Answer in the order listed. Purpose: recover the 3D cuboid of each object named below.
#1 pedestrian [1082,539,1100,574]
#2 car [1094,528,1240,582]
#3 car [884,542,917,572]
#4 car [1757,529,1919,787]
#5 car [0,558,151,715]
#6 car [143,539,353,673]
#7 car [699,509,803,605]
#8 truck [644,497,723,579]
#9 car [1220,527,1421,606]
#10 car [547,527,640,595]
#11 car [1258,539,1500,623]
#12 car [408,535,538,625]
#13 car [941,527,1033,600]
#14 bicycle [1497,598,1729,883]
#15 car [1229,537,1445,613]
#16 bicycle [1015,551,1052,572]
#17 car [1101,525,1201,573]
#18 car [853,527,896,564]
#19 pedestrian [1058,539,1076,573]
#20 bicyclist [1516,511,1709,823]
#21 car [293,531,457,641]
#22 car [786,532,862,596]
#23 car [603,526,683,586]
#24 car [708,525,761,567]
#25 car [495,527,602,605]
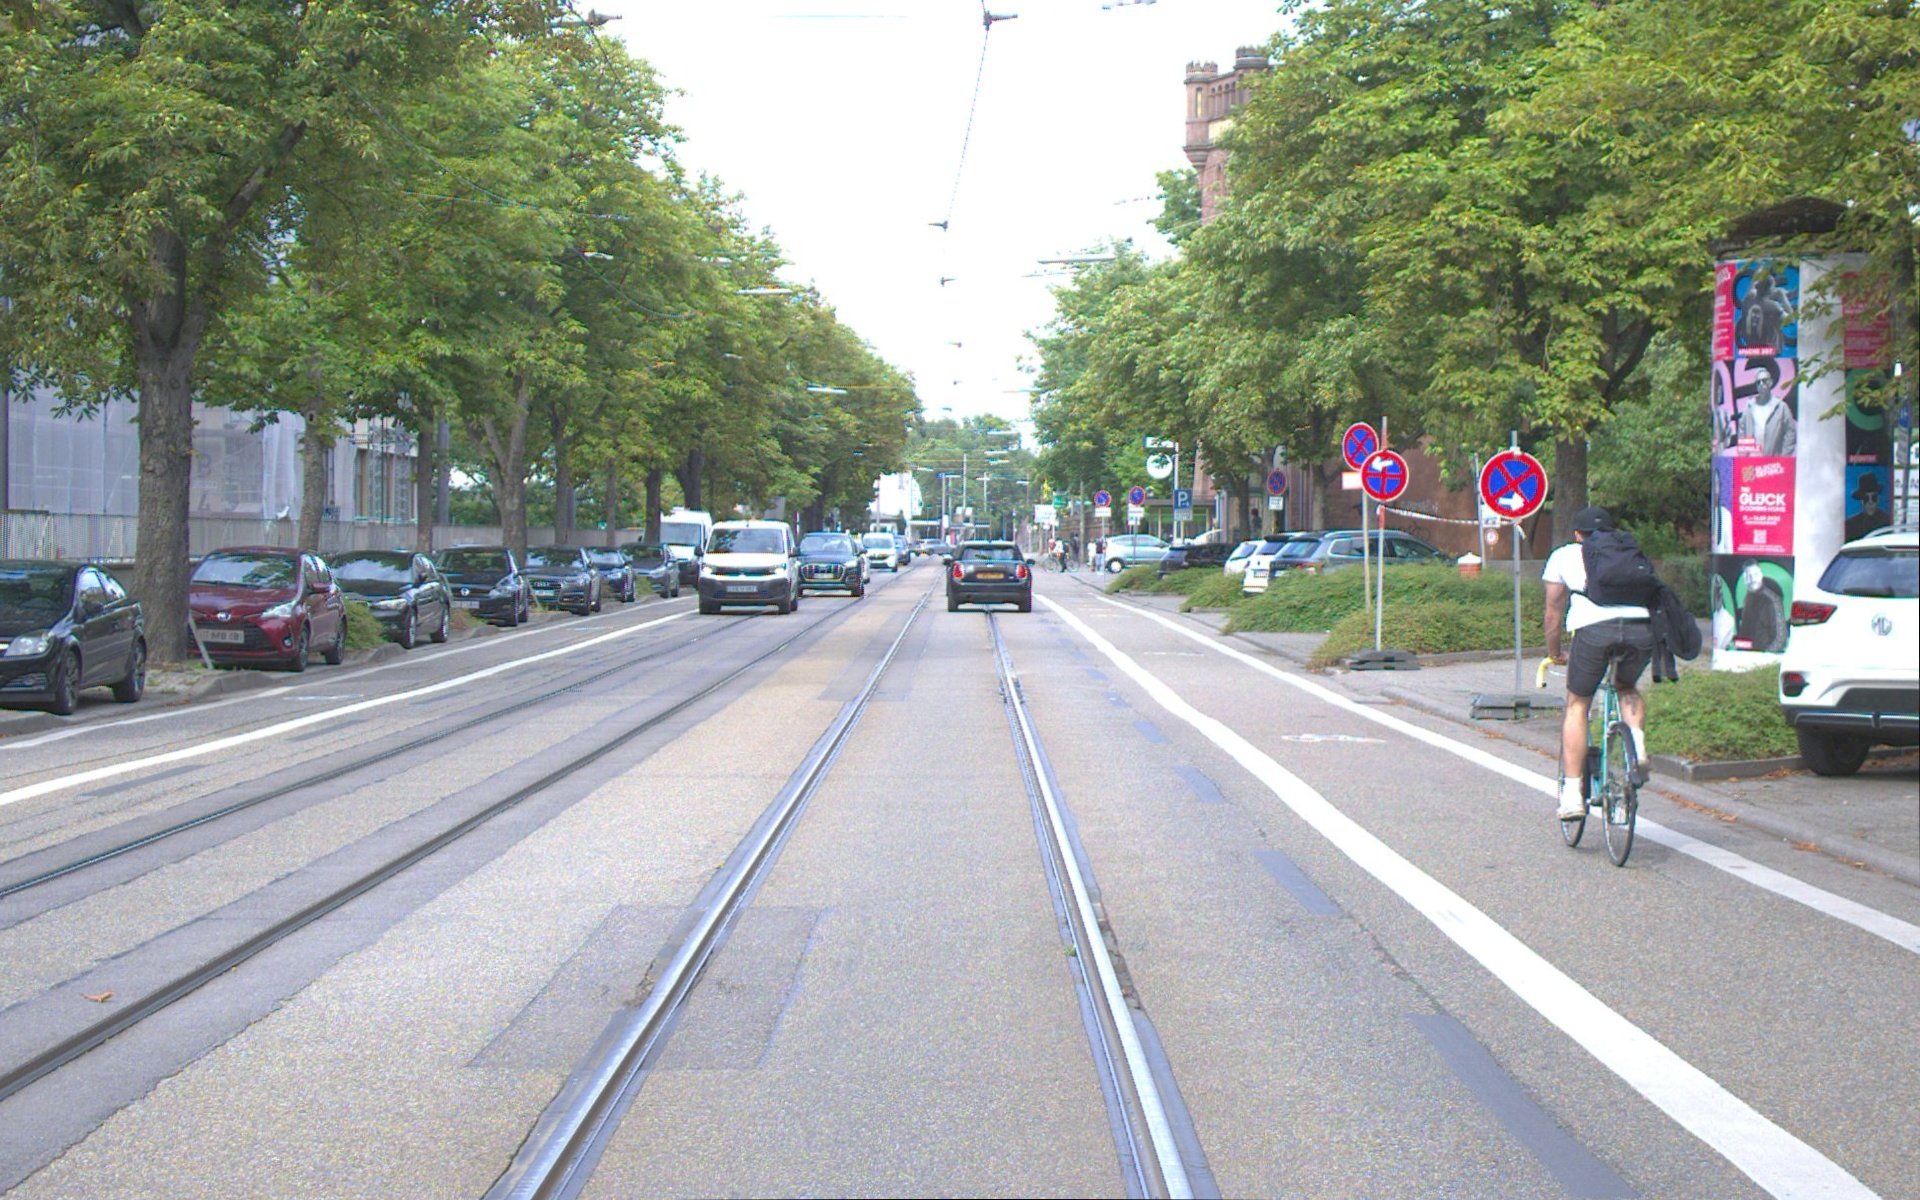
[{"bbox_3d":[6.374,-2.112,166.986,0.726,1.640,0.766,2,1,10],"label":"pedestrian"},{"bbox_3d":[5.938,-1.304,98.980,3.986,1.503,1.885,1,1,-3],"label":"car"},{"bbox_3d":[-3.352,-2.424,193.549,1.802,1.616,4.485,-1,1,0],"label":"car"},{"bbox_3d":[6.932,0.341,22.430,3.437,1.567,1.560,0,1,-38],"label":"car"},{"bbox_3d":[-9.012,0.304,32.495,1.802,1.369,4.031,-1,1,0],"label":"car"},{"bbox_3d":[-8.820,0.038,42.884,1.802,1.578,4.031,-1,1,0],"label":"car"},{"bbox_3d":[-4.107,-0.866,68.192,1.802,1.817,4.485,-1,1,0],"label":"car"},{"bbox_3d":[-8.517,-1.918,106.139,2.071,2.462,4.899,-1,1,0],"label":"truck"},{"bbox_3d":[7.667,-0.725,73.337,3.986,1.622,1.885,1,1,-3],"label":"car"},{"bbox_3d":[-8.691,-0.940,81.733,1.802,1.578,4.031,-1,1,0],"label":"car"},{"bbox_3d":[7.403,-0.344,61.037,3.986,1.420,1.885,1,1,-3],"label":"car"},{"bbox_3d":[-8.819,-0.387,62.487,1.802,1.578,4.031,-1,1,0],"label":"car"},{"bbox_3d":[0.520,-0.770,70.486,1.793,1.418,4.000,1,1,0],"label":"car"},{"bbox_3d":[3.160,0.644,16.817,0.657,1.244,2.125,1,1,-1],"label":"bicycle"},{"bbox_3d":[7.422,-0.504,67.937,3.986,1.420,1.885,1,1,-3],"label":"car"},{"bbox_3d":[3.573,-1.861,167.185,1.721,0.988,0.658,2,1,9],"label":"bicycle"},{"bbox_3d":[8.062,-2.163,145.143,3.986,1.904,2.000,1,1,-2],"label":"car"},{"bbox_3d":[-3.823,-2.452,154.311,1.802,1.616,4.485,-1,1,0],"label":"car"},{"bbox_3d":[5.181,-2.142,167.084,0.726,1.640,0.766,2,1,10],"label":"pedestrian"},{"bbox_3d":[3.171,0.304,16.802,0.657,1.458,1.179,1,1,-1],"label":"bicyclist"},{"bbox_3d":[-8.752,-0.241,51.752,1.802,1.578,4.031,-1,1,0],"label":"car"},{"bbox_3d":[-3.509,-0.950,89.286,1.802,1.616,4.485,-1,1,0],"label":"car"},{"bbox_3d":[-8.562,-1.199,93.080,1.802,1.578,4.031,-1,1,0],"label":"car"},{"bbox_3d":[-8.637,-2.062,131.794,1.802,1.578,4.031,-1,1,0],"label":"car"},{"bbox_3d":[-8.674,-0.738,72.718,1.802,1.578,4.031,-1,1,0],"label":"car"}]
